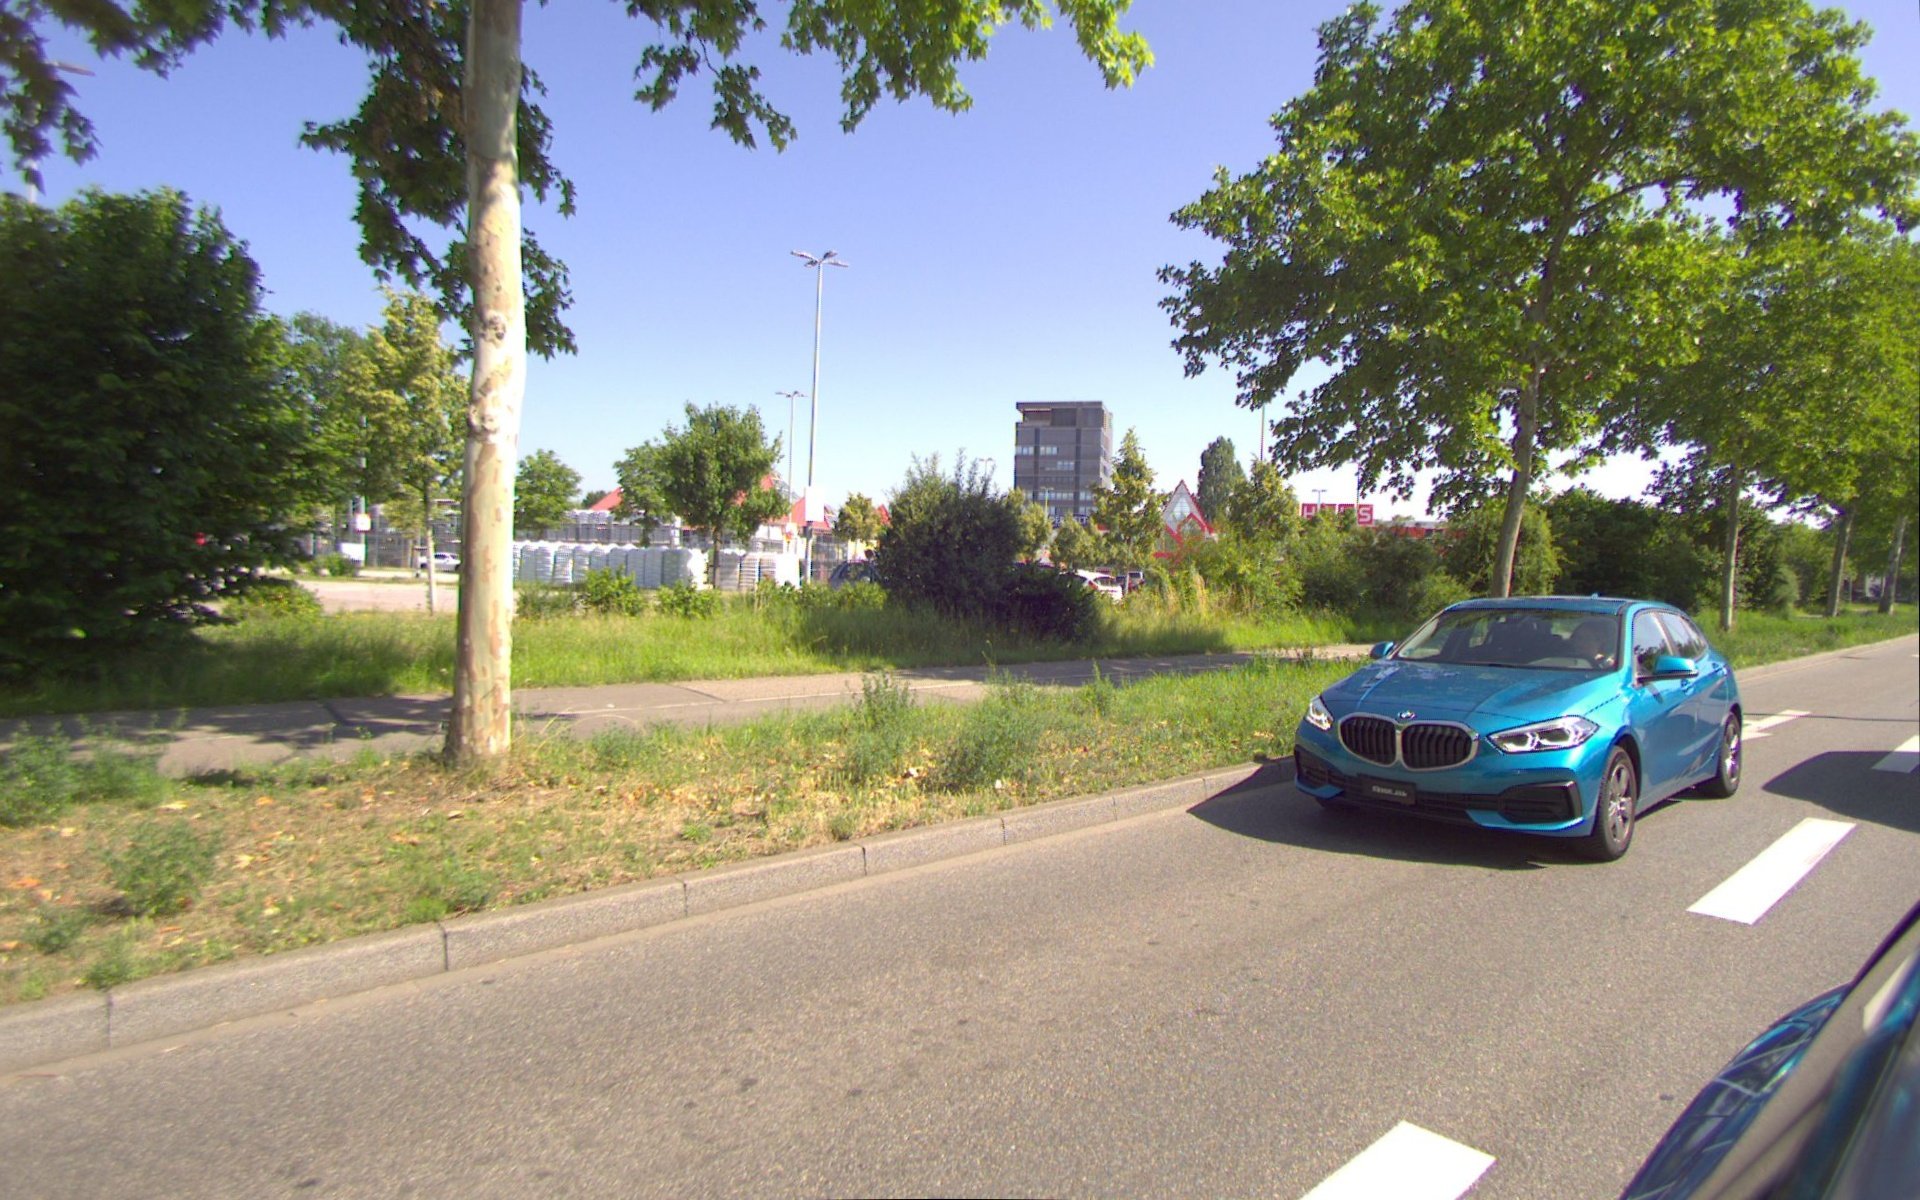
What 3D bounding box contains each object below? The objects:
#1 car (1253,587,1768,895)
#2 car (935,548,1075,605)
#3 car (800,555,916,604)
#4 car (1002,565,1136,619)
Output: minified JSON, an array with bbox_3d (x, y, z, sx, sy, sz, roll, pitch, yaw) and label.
[{"bbox_3d":[3.942,0.655,6.940,4.060,1.437,1.870,-1,2,-42],"label":"car"},{"bbox_3d":[1.312,-0.683,30.516,1.851,1.611,4.073,-1,1,-45],"label":"car"},{"bbox_3d":[-2.862,-0.544,27.777,1.583,1.263,3.528,-1,1,-37],"label":"car"},{"bbox_3d":[3.451,-0.261,32.527,1.851,1.611,4.073,-1,1,-45],"label":"car"}]
